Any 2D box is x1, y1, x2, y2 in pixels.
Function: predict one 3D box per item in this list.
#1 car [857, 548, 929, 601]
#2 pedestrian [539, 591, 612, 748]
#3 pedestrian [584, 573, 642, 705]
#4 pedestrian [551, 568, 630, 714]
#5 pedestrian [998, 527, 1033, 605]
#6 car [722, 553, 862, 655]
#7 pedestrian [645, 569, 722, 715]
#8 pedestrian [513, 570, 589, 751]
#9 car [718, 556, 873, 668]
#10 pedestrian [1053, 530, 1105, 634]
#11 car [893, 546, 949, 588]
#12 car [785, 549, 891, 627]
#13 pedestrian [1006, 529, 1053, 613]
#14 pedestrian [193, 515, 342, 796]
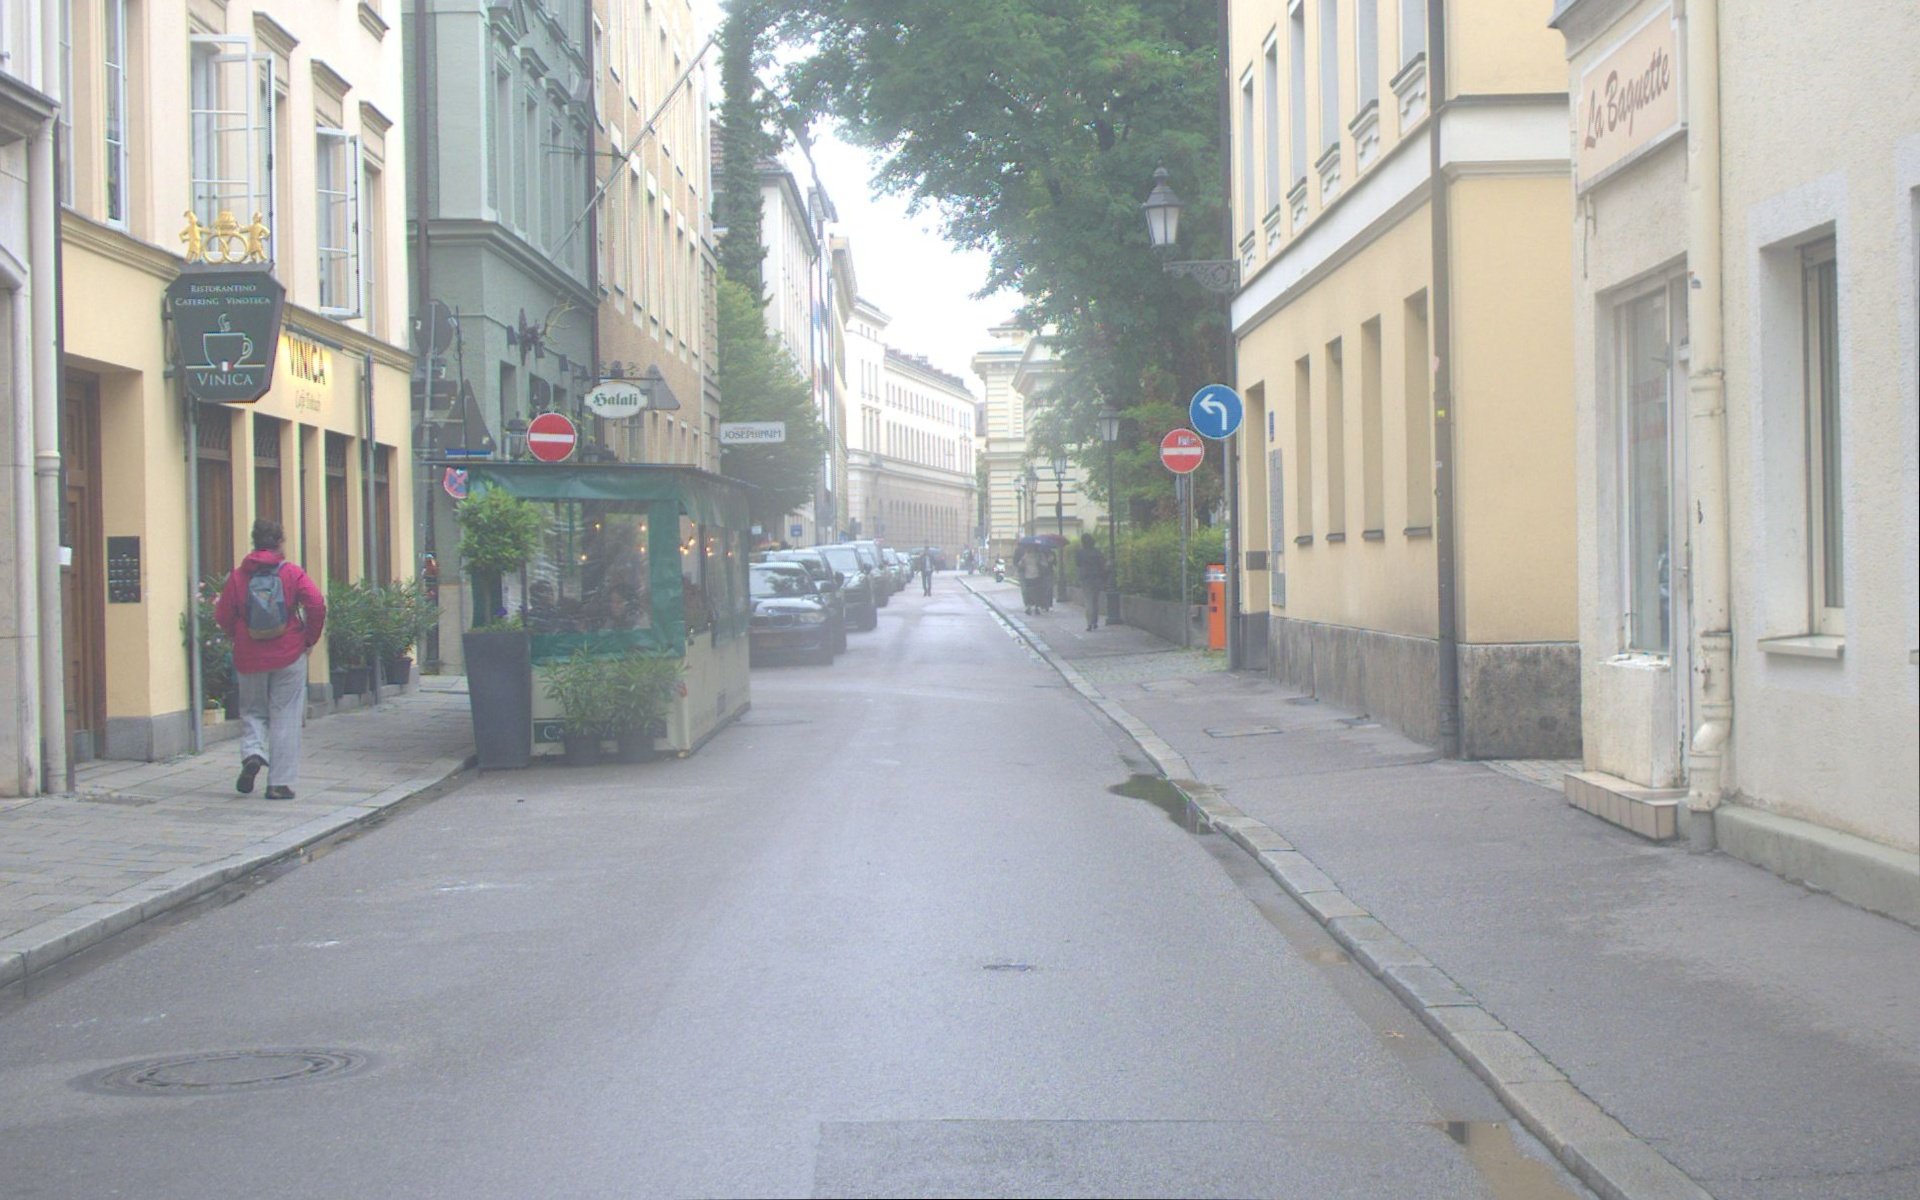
[{"bbox_3d":[-1.860,-0.735,96.371,1.779,1.461,3.542,0,1,3],"label":"car"},{"bbox_3d":[-2.961,0.527,26.507,0.509,1.183,0.631,0,1,-2],"label":"pedestrian"},{"bbox_3d":[-3.312,0.367,32.822,0.509,1.233,0.631,0,1,-2],"label":"pedestrian"},{"bbox_3d":[-3.419,0.373,31.823,0.673,1.322,0.696,0,1,-2],"label":"pedestrian"},{"bbox_3d":[1.295,-0.794,80.253,0.793,1.796,0.903,0,1,1],"label":"pedestrian"},{"bbox_3d":[-2.490,0.034,51.691,1.779,1.461,3.542,0,1,3],"label":"car"},{"bbox_3d":[-2.543,0.381,31.675,0.673,1.322,0.696,0,1,-2],"label":"pedestrian"},{"bbox_3d":[-3.031,0.444,25.507,0.509,1.322,0.631,0,1,-2],"label":"pedestrian"},{"bbox_3d":[-2.212,0.135,47.027,1.779,1.461,3.662,0,1,3],"label":"car"},{"bbox_3d":[2.063,-0.314,59.707,0.880,1.796,1.046,0,1,1],"label":"pedestrian"},{"bbox_3d":[-1.361,-1.161,120.447,1.779,1.461,3.542,0,1,3],"label":"car"},{"bbox_3d":[-2.332,-0.256,66.646,1.779,1.461,3.542,0,1,3],"label":"car"},{"bbox_3d":[1.516,-0.639,75.053,1.015,1.796,1.349,0,1,1],"label":"pedestrian"},{"bbox_3d":[-4.301,0.333,21.390,0.765,1.702,0.785,-1,1,-2],"label":"pedestrian"}]
